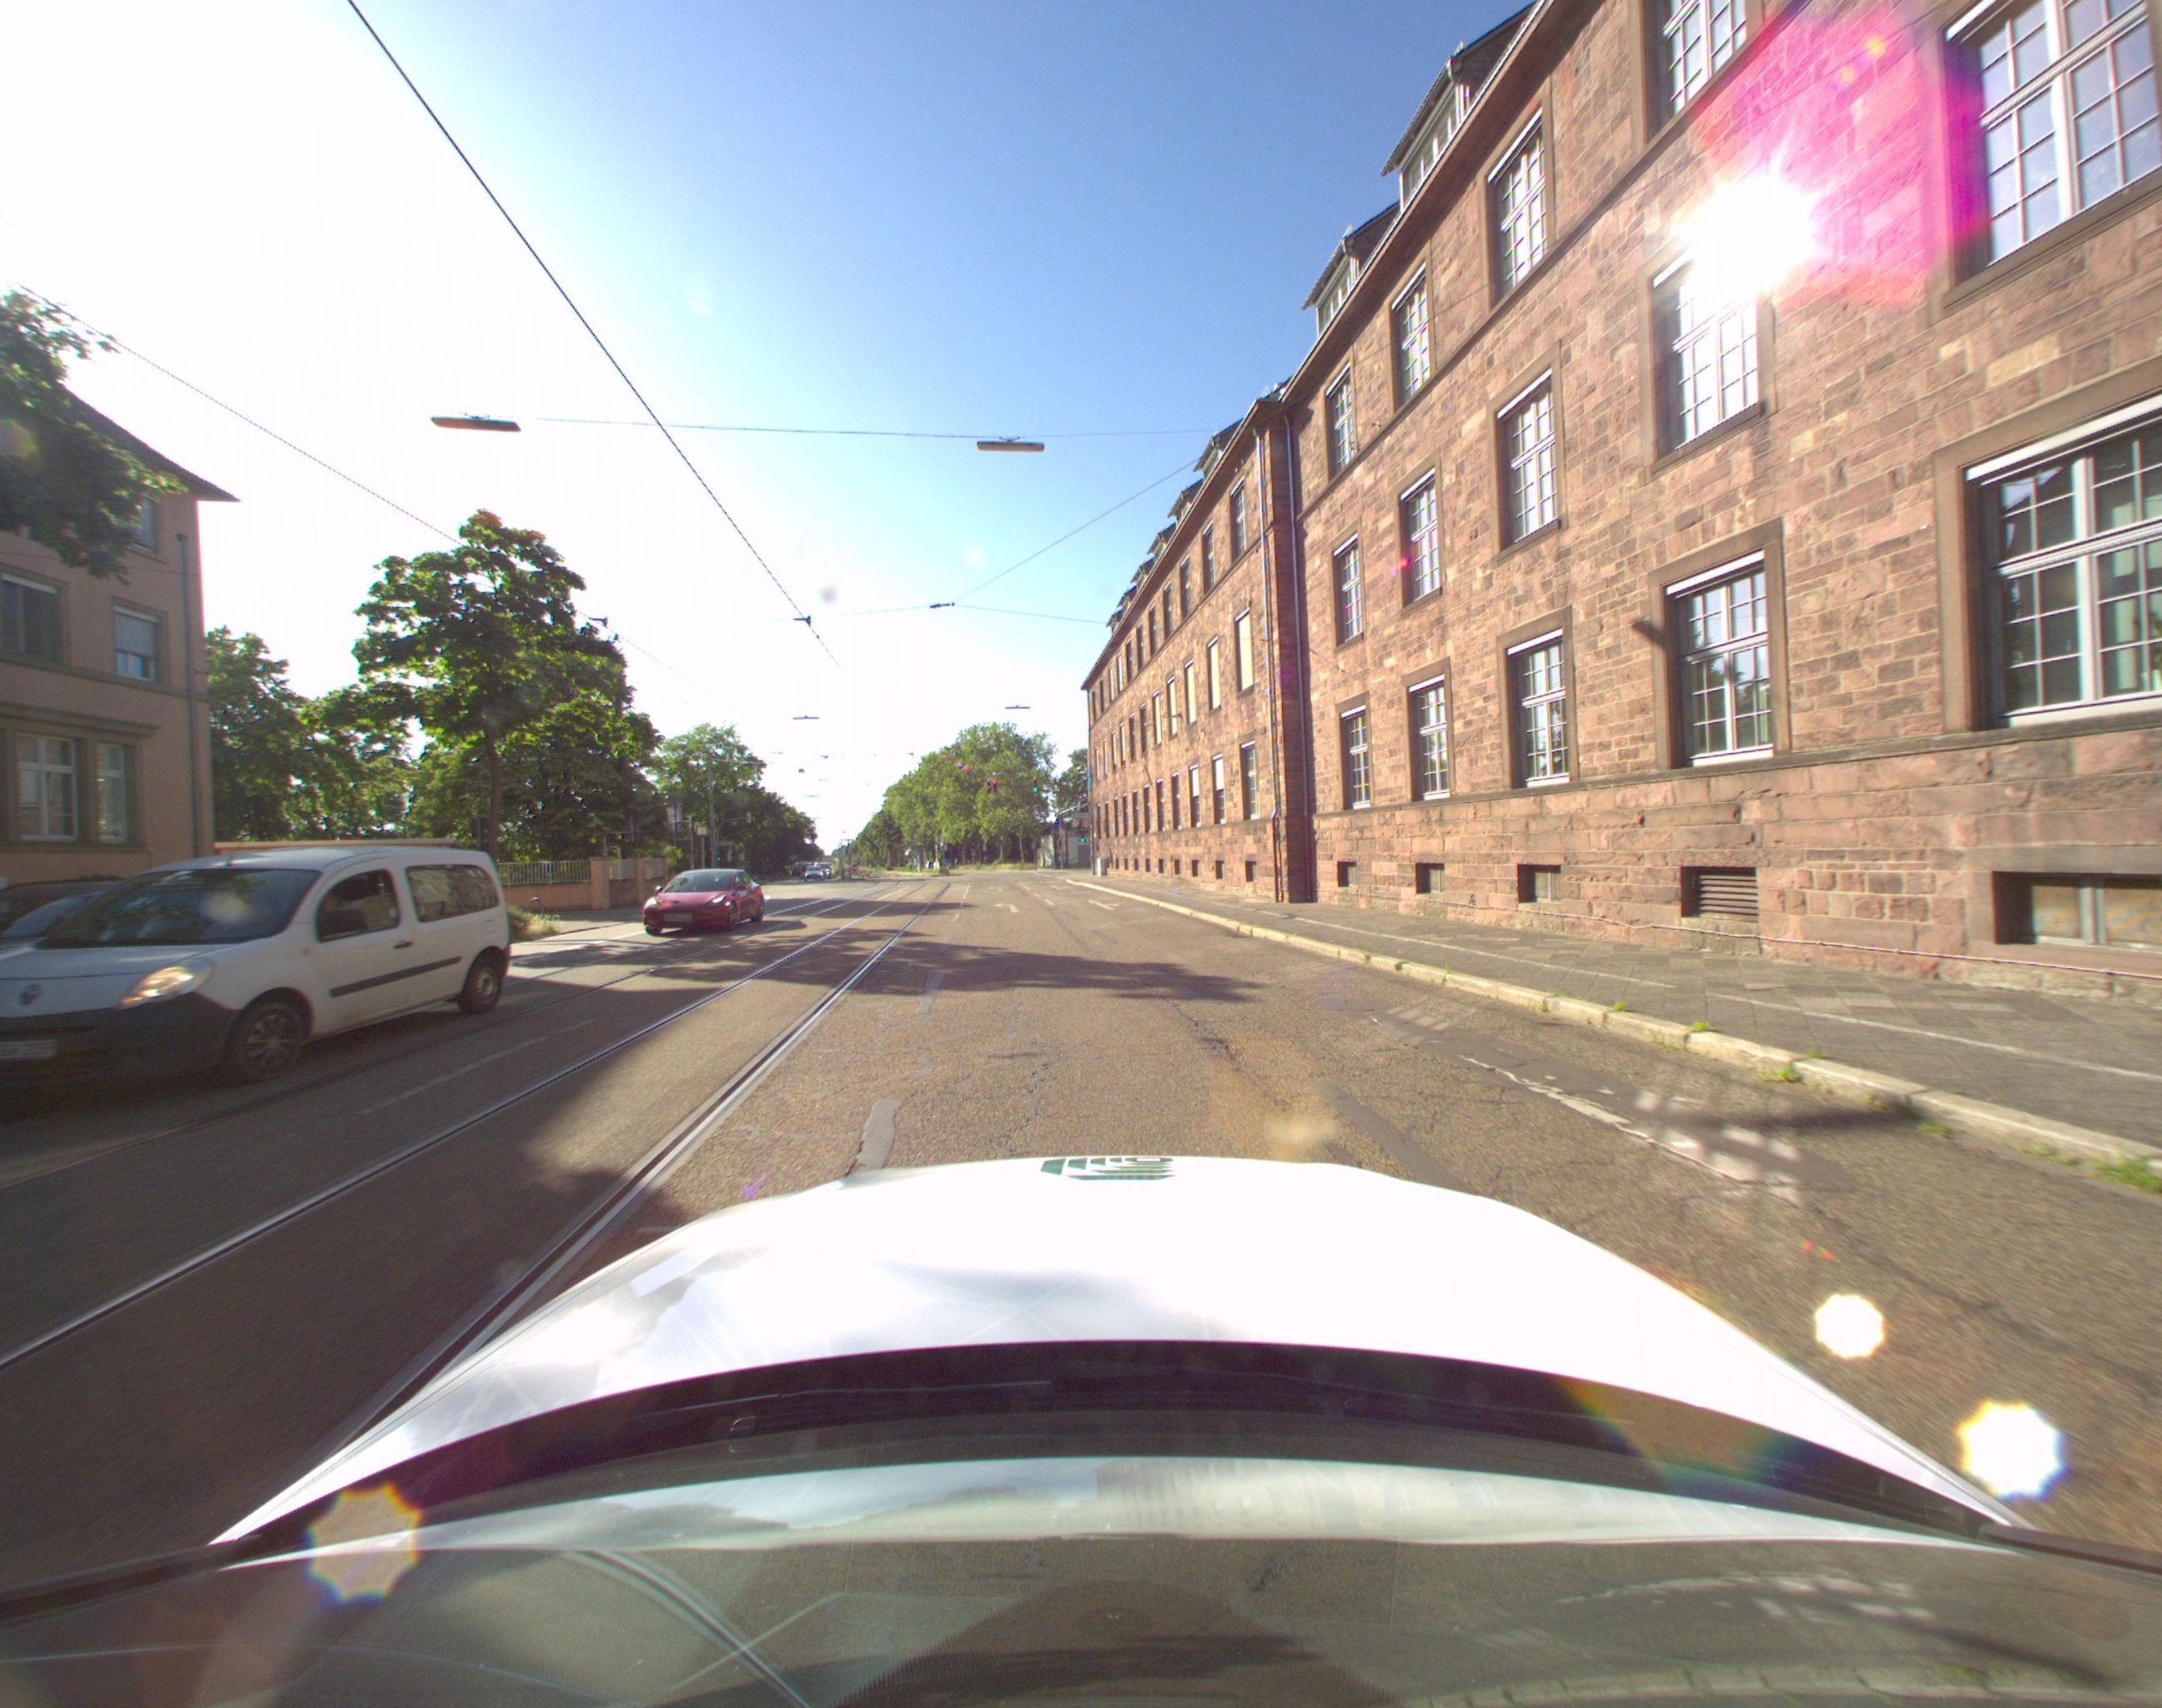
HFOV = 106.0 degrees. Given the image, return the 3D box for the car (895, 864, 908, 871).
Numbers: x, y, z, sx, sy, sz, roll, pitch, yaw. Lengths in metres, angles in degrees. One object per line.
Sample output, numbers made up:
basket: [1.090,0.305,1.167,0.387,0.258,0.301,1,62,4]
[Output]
car: [-42.014,3.166,190.182,1.954,1.610,3.963,-2,0,-28]

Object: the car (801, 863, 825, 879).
car: [-25.830,1.626,78.392,2.001,1.504,3.972,-2,0,-21]

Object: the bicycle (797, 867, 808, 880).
bicycle: [-25.597,1.786,74.805,0.752,1.087,2.160,-2,0,-22]

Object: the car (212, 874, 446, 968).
car: [-13.919,1.161,15.377,1.583,1.488,3.598,1,0,-12]

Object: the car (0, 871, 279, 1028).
car: [-13.184,1.091,10.612,1.746,1.660,4.373,1,0,-12]

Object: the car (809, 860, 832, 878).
car: [-27.125,1.523,84.733,2.001,1.760,3.972,-2,0,-21]

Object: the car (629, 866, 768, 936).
car: [-9.141,1.041,19.917,1.922,1.387,4.669,-2,0,-11]

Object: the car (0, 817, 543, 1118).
car: [-7.069,0.741,7.391,1.808,1.888,4.429,-2,0,-7]

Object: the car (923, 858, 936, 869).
car: [-24.256,1.545,130.304,1.944,1.610,3.983,-2,0,-13]

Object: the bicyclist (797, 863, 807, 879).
bicyclist: [-25.579,1.560,74.736,0.752,1.504,0.957,-2,0,-23]
